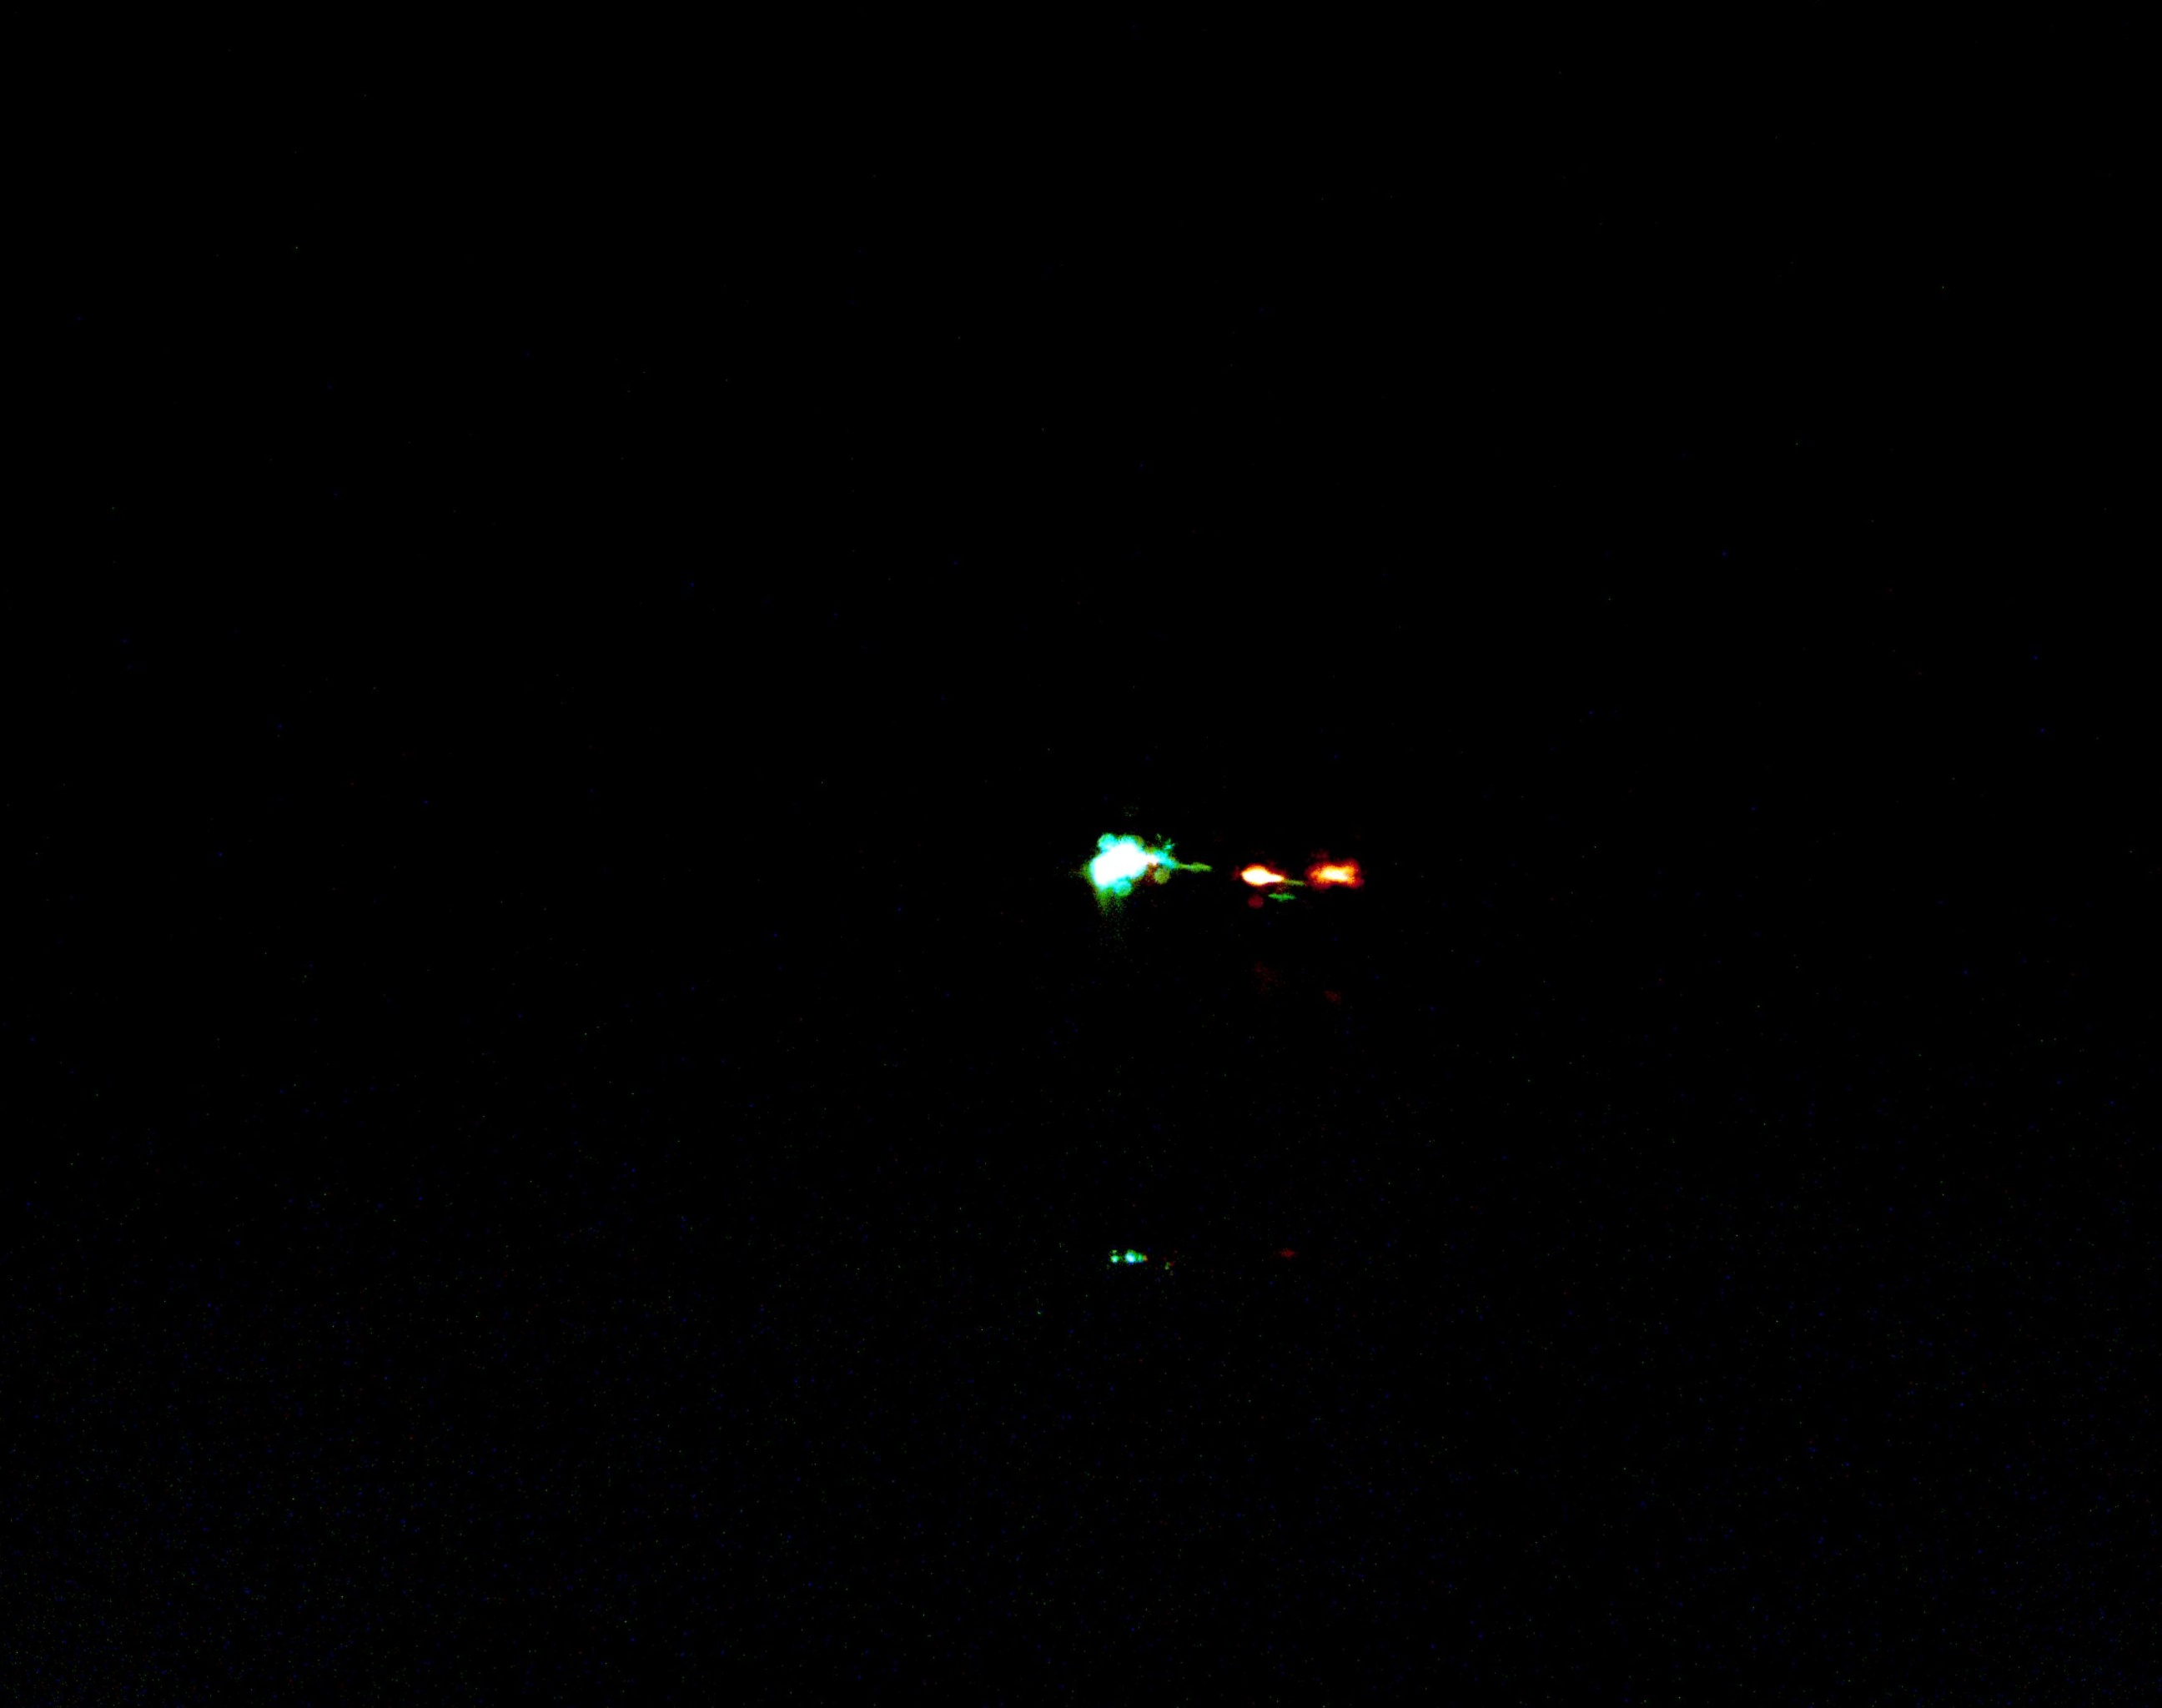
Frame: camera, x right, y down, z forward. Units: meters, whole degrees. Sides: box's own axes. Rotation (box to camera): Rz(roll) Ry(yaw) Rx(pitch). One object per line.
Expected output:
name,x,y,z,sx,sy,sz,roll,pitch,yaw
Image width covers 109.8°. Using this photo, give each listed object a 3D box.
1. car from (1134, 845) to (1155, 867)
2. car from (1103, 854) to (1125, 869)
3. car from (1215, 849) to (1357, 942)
car,6.873,0.203,82.822,1.998,2.259,5.468,-2,0,3
car,3.683,0.806,84.139,1.877,1.578,4.892,-2,0,9
car,3.936,0.737,15.380,1.930,1.565,4.349,-2,0,4
